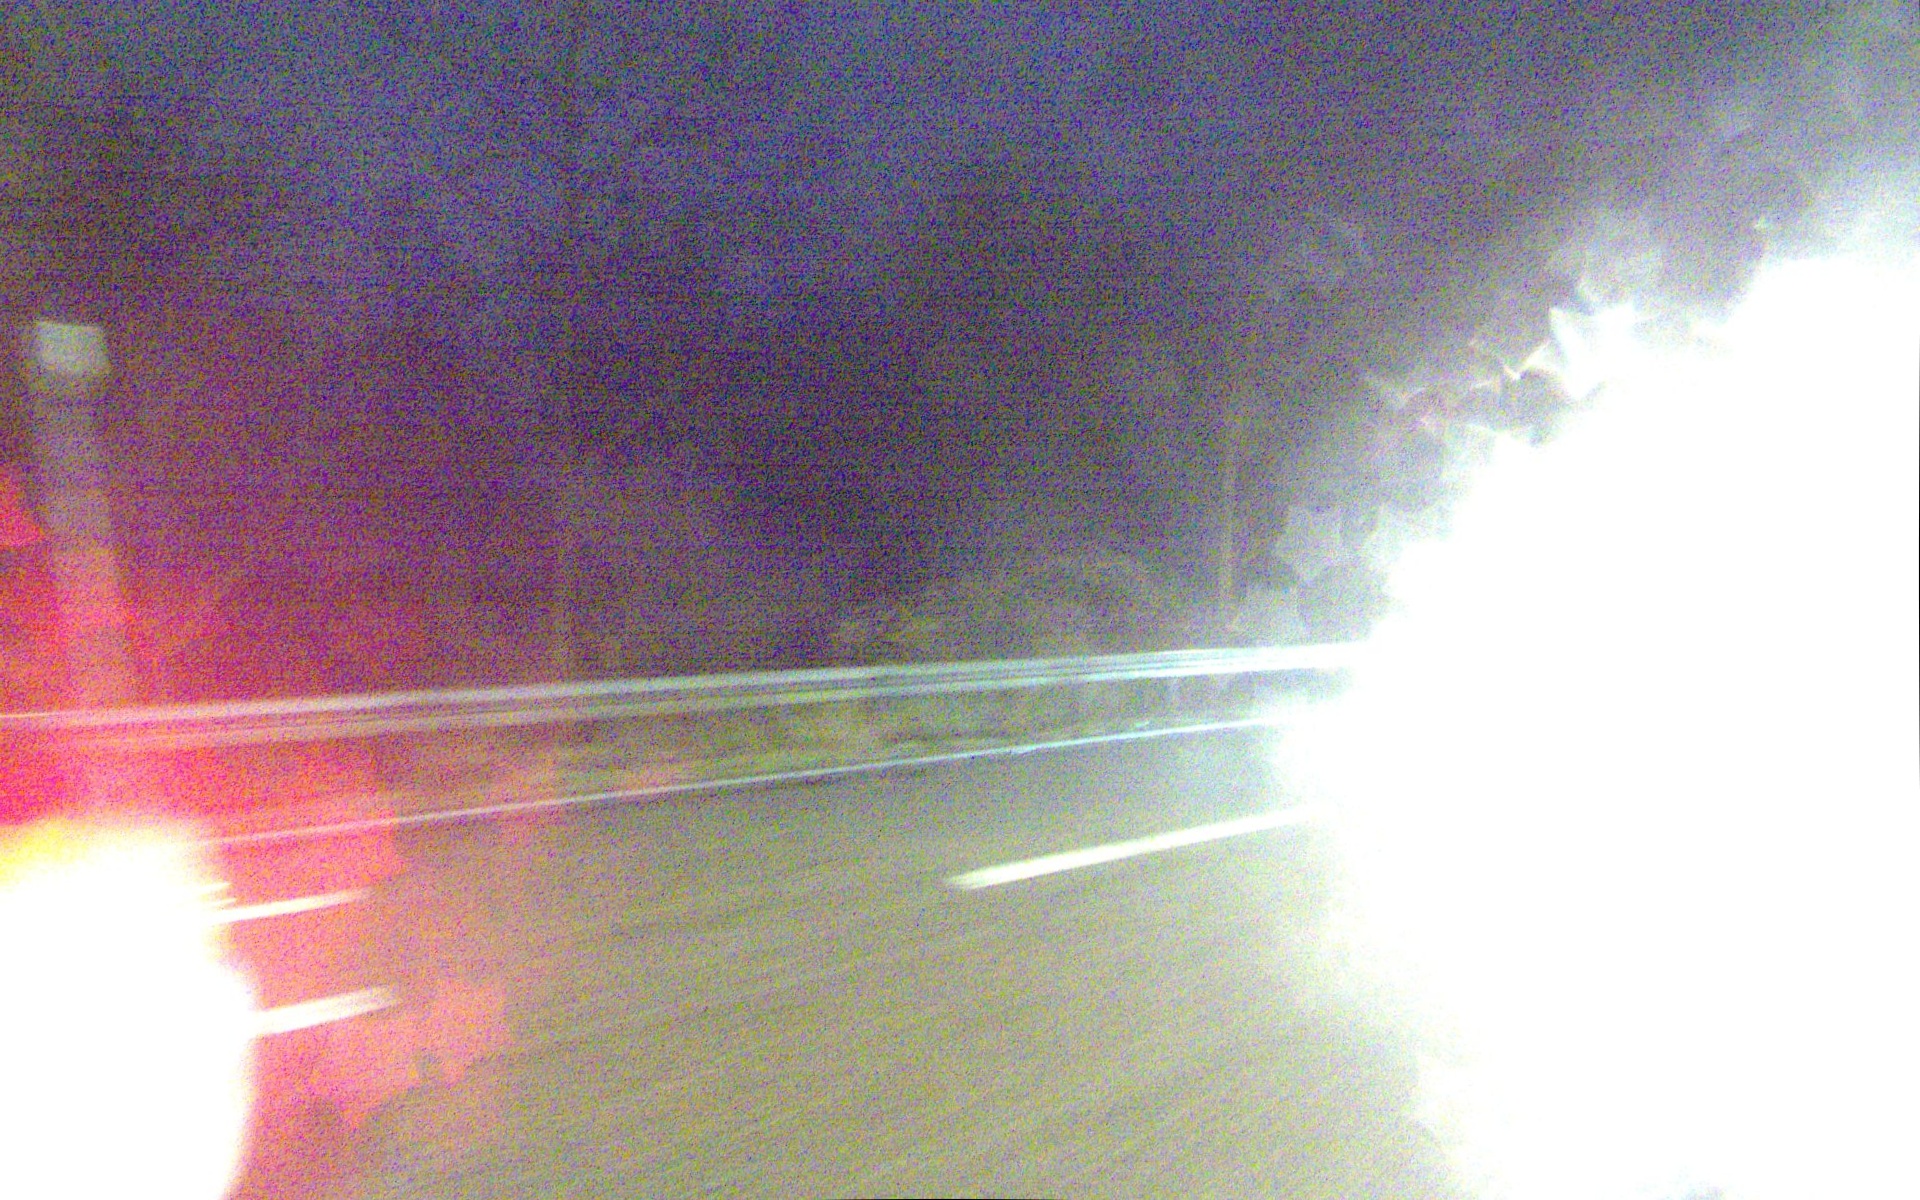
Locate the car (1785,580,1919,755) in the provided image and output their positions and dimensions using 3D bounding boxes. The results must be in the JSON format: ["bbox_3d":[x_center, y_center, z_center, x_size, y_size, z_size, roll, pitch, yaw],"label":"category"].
[{"bbox_3d":[9.892,0.561,9.917,3.924,1.520,1.766,-1,1,-34],"label":"car"}]

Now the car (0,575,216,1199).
[{"bbox_3d":[-3.509,0.731,0.916,4.480,1.503,1.828,-1,1,-34],"label":"car"}]
